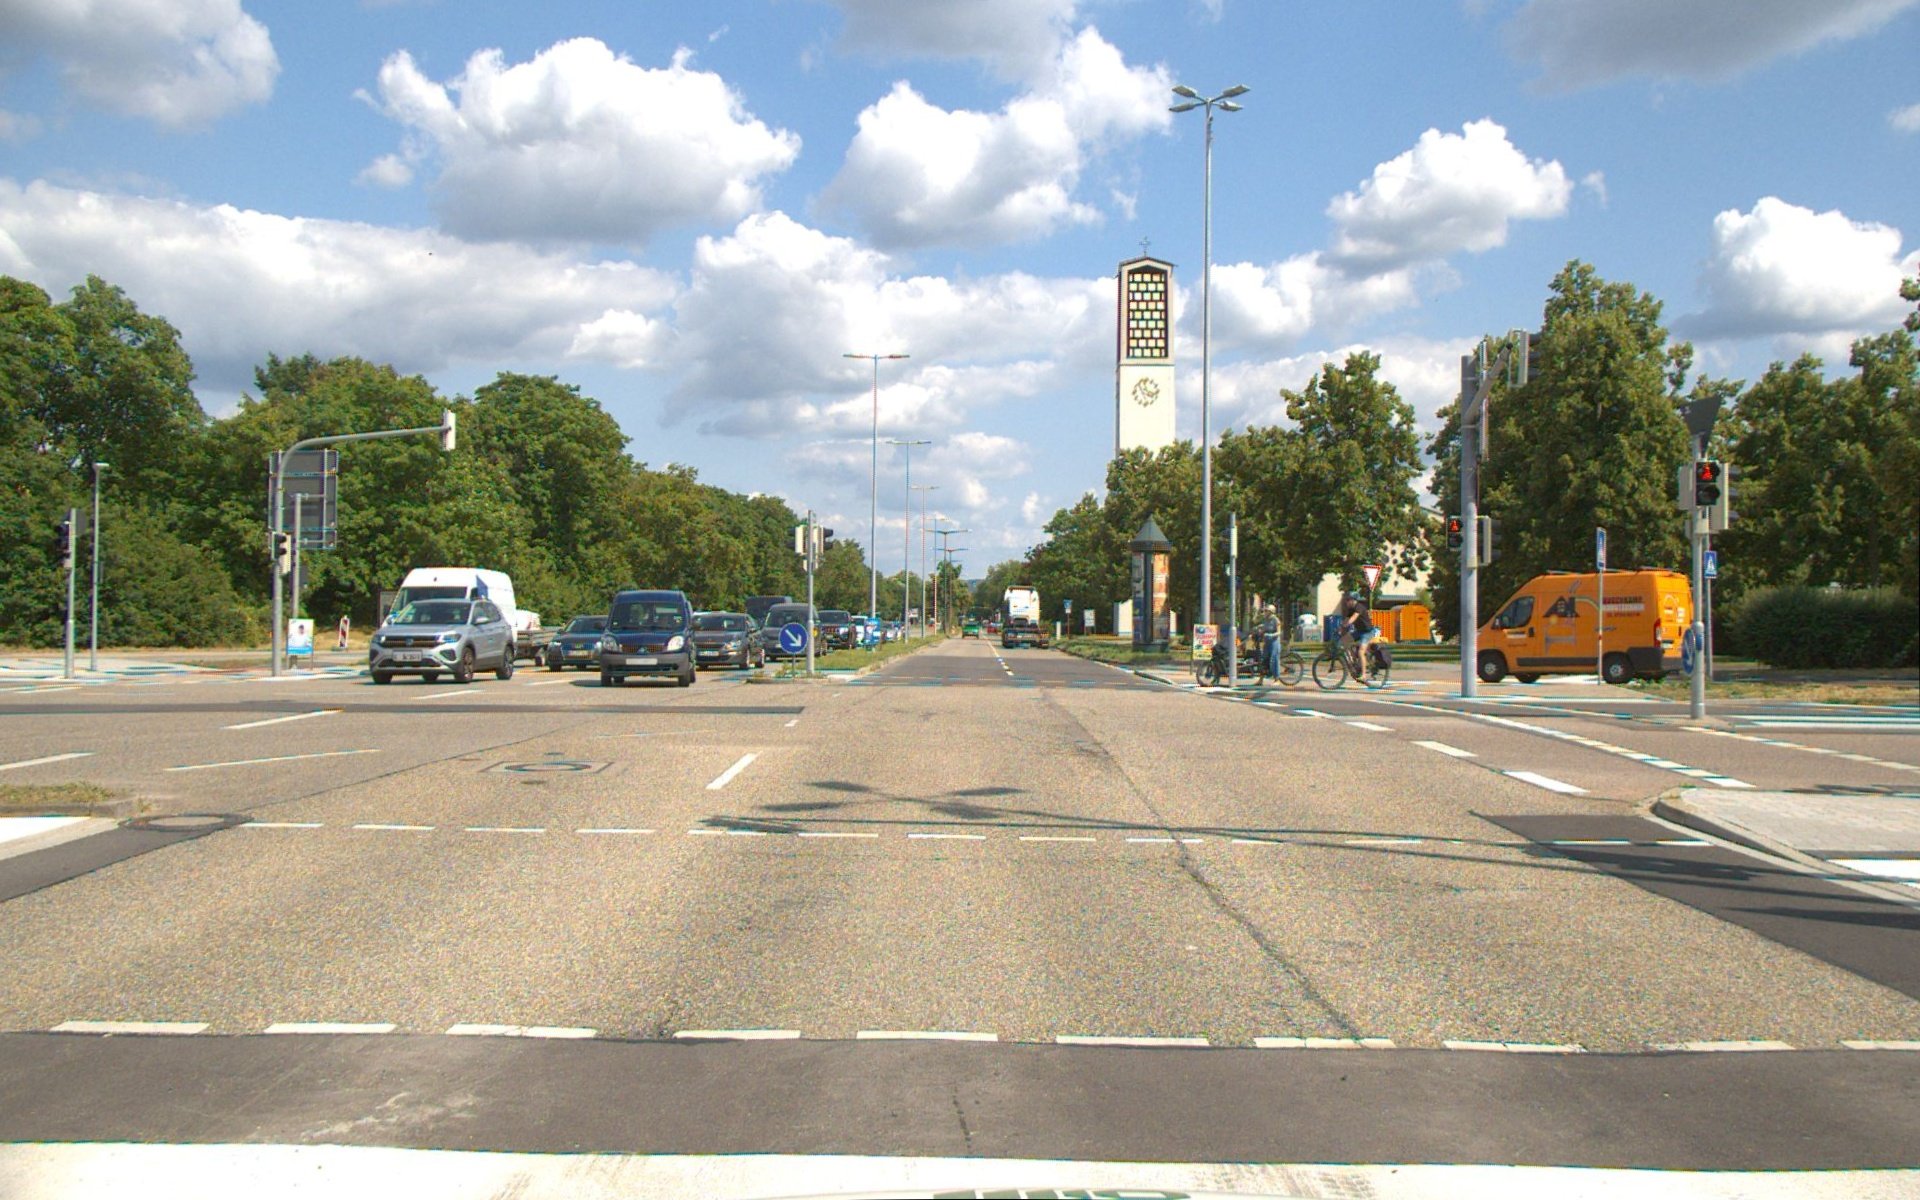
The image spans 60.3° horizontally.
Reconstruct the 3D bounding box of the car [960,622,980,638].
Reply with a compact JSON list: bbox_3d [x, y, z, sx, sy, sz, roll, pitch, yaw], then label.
[{"bbox_3d":[1.058,3.162,172.482,1.953,1.579,3.999,2,-1,-1],"label":"car"}]

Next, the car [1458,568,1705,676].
[{"bbox_3d":[14.117,0.467,37.734,2.196,2.265,4.779,3,-1,-45],"label":"car"}]

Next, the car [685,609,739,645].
[{"bbox_3d":[-9.317,1.010,62.363,1.516,1.238,3.489,2,-1,-1],"label":"car"}]

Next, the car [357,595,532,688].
[{"bbox_3d":[-9.705,0.772,31.505,1.698,1.570,4.310,2,-1,3],"label":"car"}]

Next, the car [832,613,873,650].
[{"bbox_3d":[-5.322,1.559,82.154,1.699,1.689,4.230,2,-1,0],"label":"car"}]

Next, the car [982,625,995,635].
[{"bbox_3d":[4.534,4.713,262.045,1.953,1.579,3.999,2,-1,-1],"label":"car"}]

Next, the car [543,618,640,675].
[{"bbox_3d":[-9.421,1.175,42.483,1.728,1.375,3.518,1,-1,-1],"label":"car"}]

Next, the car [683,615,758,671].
[{"bbox_3d":[-6.110,1.084,42.479,1.537,1.339,3.430,2,-1,-3],"label":"car"}]

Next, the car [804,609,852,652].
[{"bbox_3d":[-5.541,1.296,69.969,1.699,1.689,4.230,2,-1,-1],"label":"car"}]

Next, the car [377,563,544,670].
[{"bbox_3d":[-12.807,0.450,42.926,2.128,2.514,5.969,2,-1,3],"label":"car"}]

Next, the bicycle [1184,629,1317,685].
[{"bbox_3d":[6.108,1.193,34.697,2.796,1.131,0.791,1,0,-25],"label":"bicycle"}]

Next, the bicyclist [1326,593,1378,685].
[{"bbox_3d":[7.884,0.783,33.270,0.774,1.836,0.682,1,-1,-18],"label":"bicyclist"}]

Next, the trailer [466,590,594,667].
[{"bbox_3d":[-12.522,0.846,48.510,2.080,2.049,5.163,2,-1,3],"label":"trailer"}]

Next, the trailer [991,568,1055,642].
[{"bbox_3d":[3.845,0.412,98.016,3.544,4.082,11.322,1,-1,3],"label":"trailer"}]

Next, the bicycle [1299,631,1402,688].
[{"bbox_3d":[7.855,1.184,33.260,1.966,1.113,0.682,1,-1,-19],"label":"bicycle"}]

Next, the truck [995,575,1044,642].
[{"bbox_3d":[3.860,0.624,106.153,2.897,4.040,8.640,1,-1,3],"label":"truck"}]

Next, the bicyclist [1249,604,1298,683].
[{"bbox_3d":[6.610,0.906,34.926,0.689,1.644,0.791,1,-1,-24],"label":"bicyclist"}]

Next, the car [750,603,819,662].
[{"bbox_3d":[-5.556,1.006,52.738,1.699,1.689,4.230,2,0,0],"label":"car"}]

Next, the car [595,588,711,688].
[{"bbox_3d":[-5.710,0.701,31.157,1.701,1.689,4.226,2,-1,-5],"label":"car"}]

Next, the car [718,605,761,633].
[{"bbox_3d":[-10.366,0.900,77.900,1.516,1.238,3.489,2,-1,-1],"label":"car"}]
